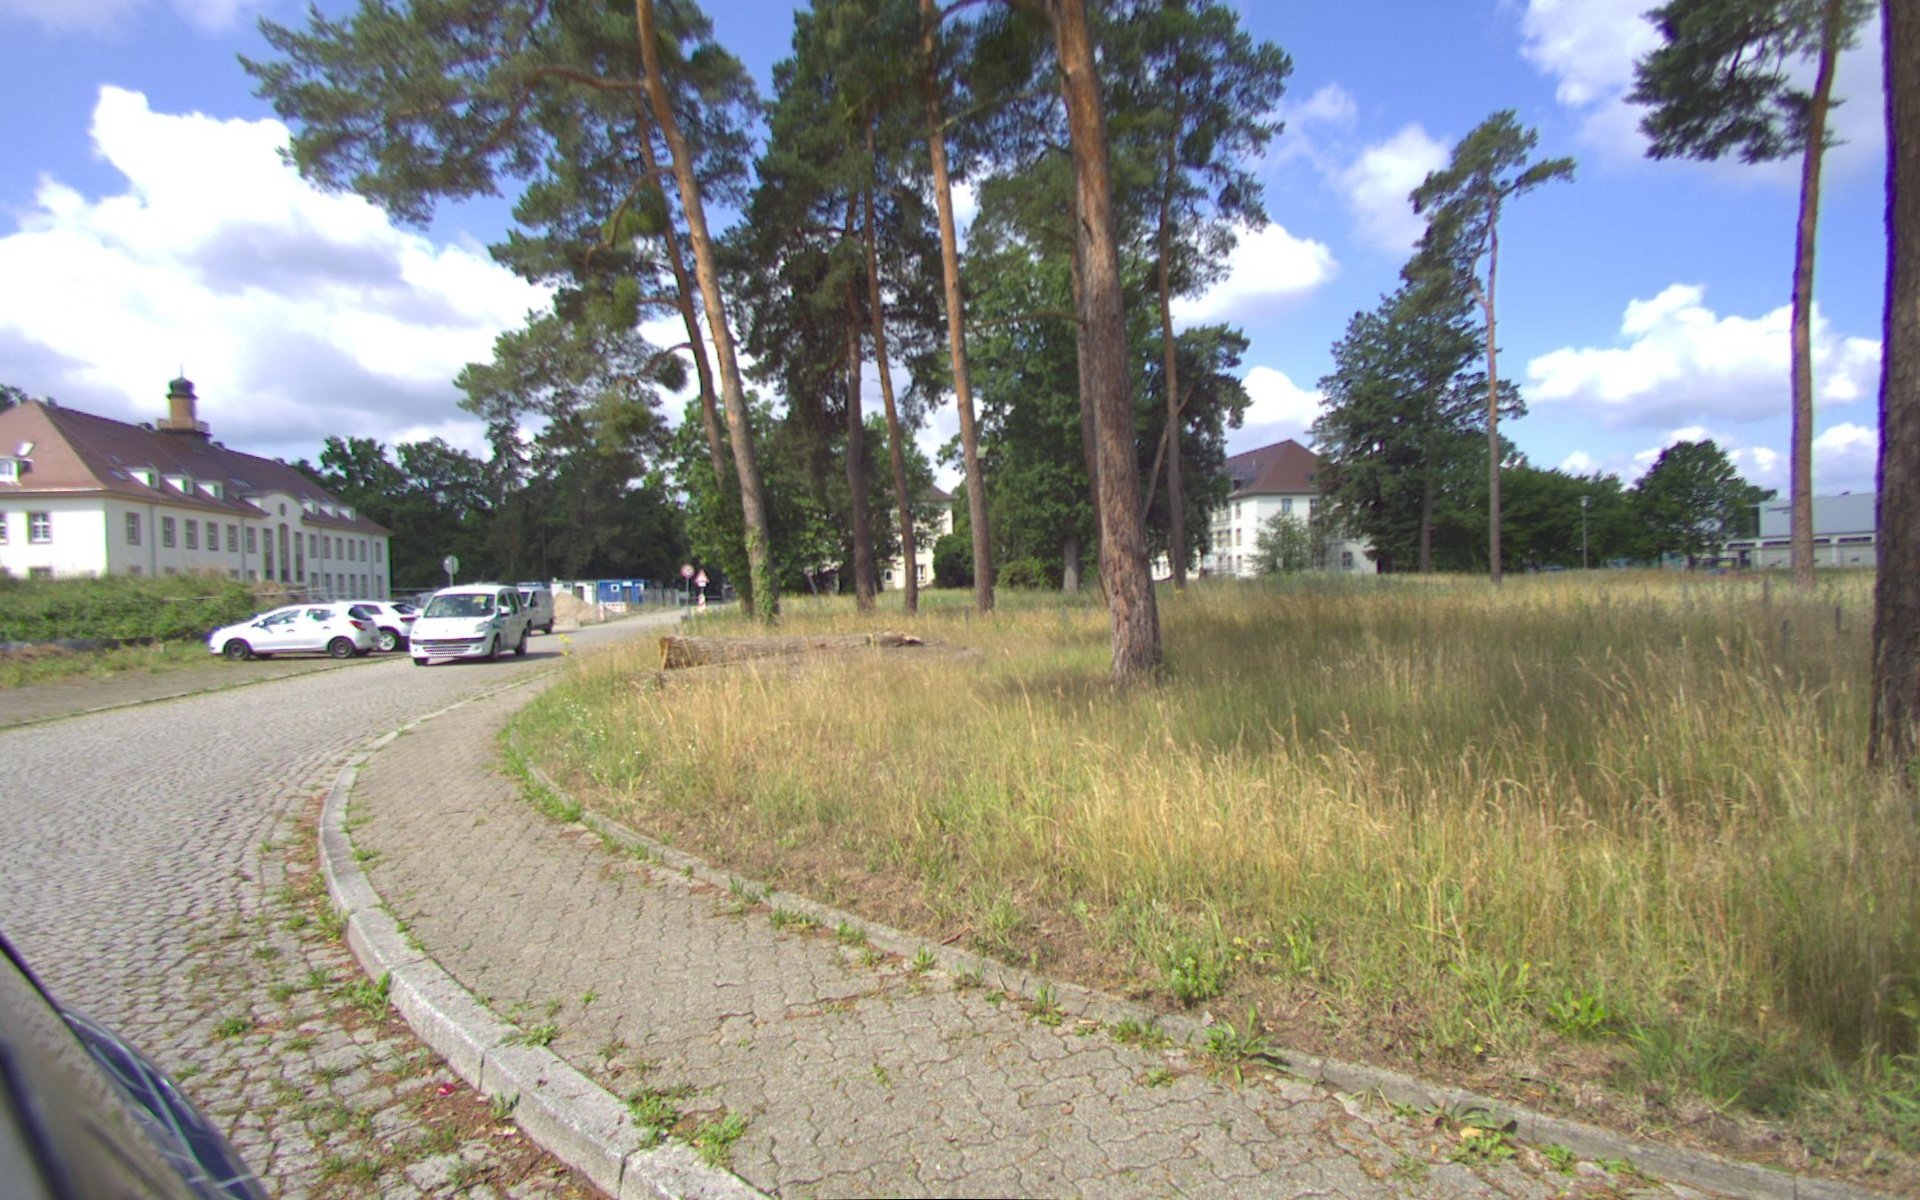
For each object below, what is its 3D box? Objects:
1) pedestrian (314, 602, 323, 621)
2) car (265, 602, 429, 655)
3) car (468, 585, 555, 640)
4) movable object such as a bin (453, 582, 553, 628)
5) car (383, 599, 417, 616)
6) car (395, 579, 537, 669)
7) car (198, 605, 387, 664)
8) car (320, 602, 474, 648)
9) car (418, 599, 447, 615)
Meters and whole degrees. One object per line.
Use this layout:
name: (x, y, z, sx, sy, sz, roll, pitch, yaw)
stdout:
pedestrian: (-62.018, 1.124, 97.830, 0.483, 1.801, 0.508, -2, 0, -13)
car: (-18.559, 0.836, 30.805, 3.933, 1.518, 1.751, 0, 0, -12)
car: (-18.347, 0.445, 41.681, 1.889, 2.069, 5.690, -2, 1, -9)
movable object such as a bin: (-26.760, 0.294, 59.462, 2.132, 2.541, 5.622, -1, 0, 18)
car: (-63.991, 0.847, 115.723, 1.855, 1.741, 4.717, -2, 1, -9)
car: (-11.755, 0.514, 24.465, 1.810, 1.882, 4.841, -2, 0, -11)
car: (-18.195, 0.906, 27.777, 3.988, 1.475, 1.708, 0, 0, -12)
car: (-19.555, 0.845, 35.318, 4.393, 1.486, 1.750, 0, 0, -14)
car: (-60.586, 0.771, 116.285, 1.775, 1.696, 4.048, -2, 1, -9)
